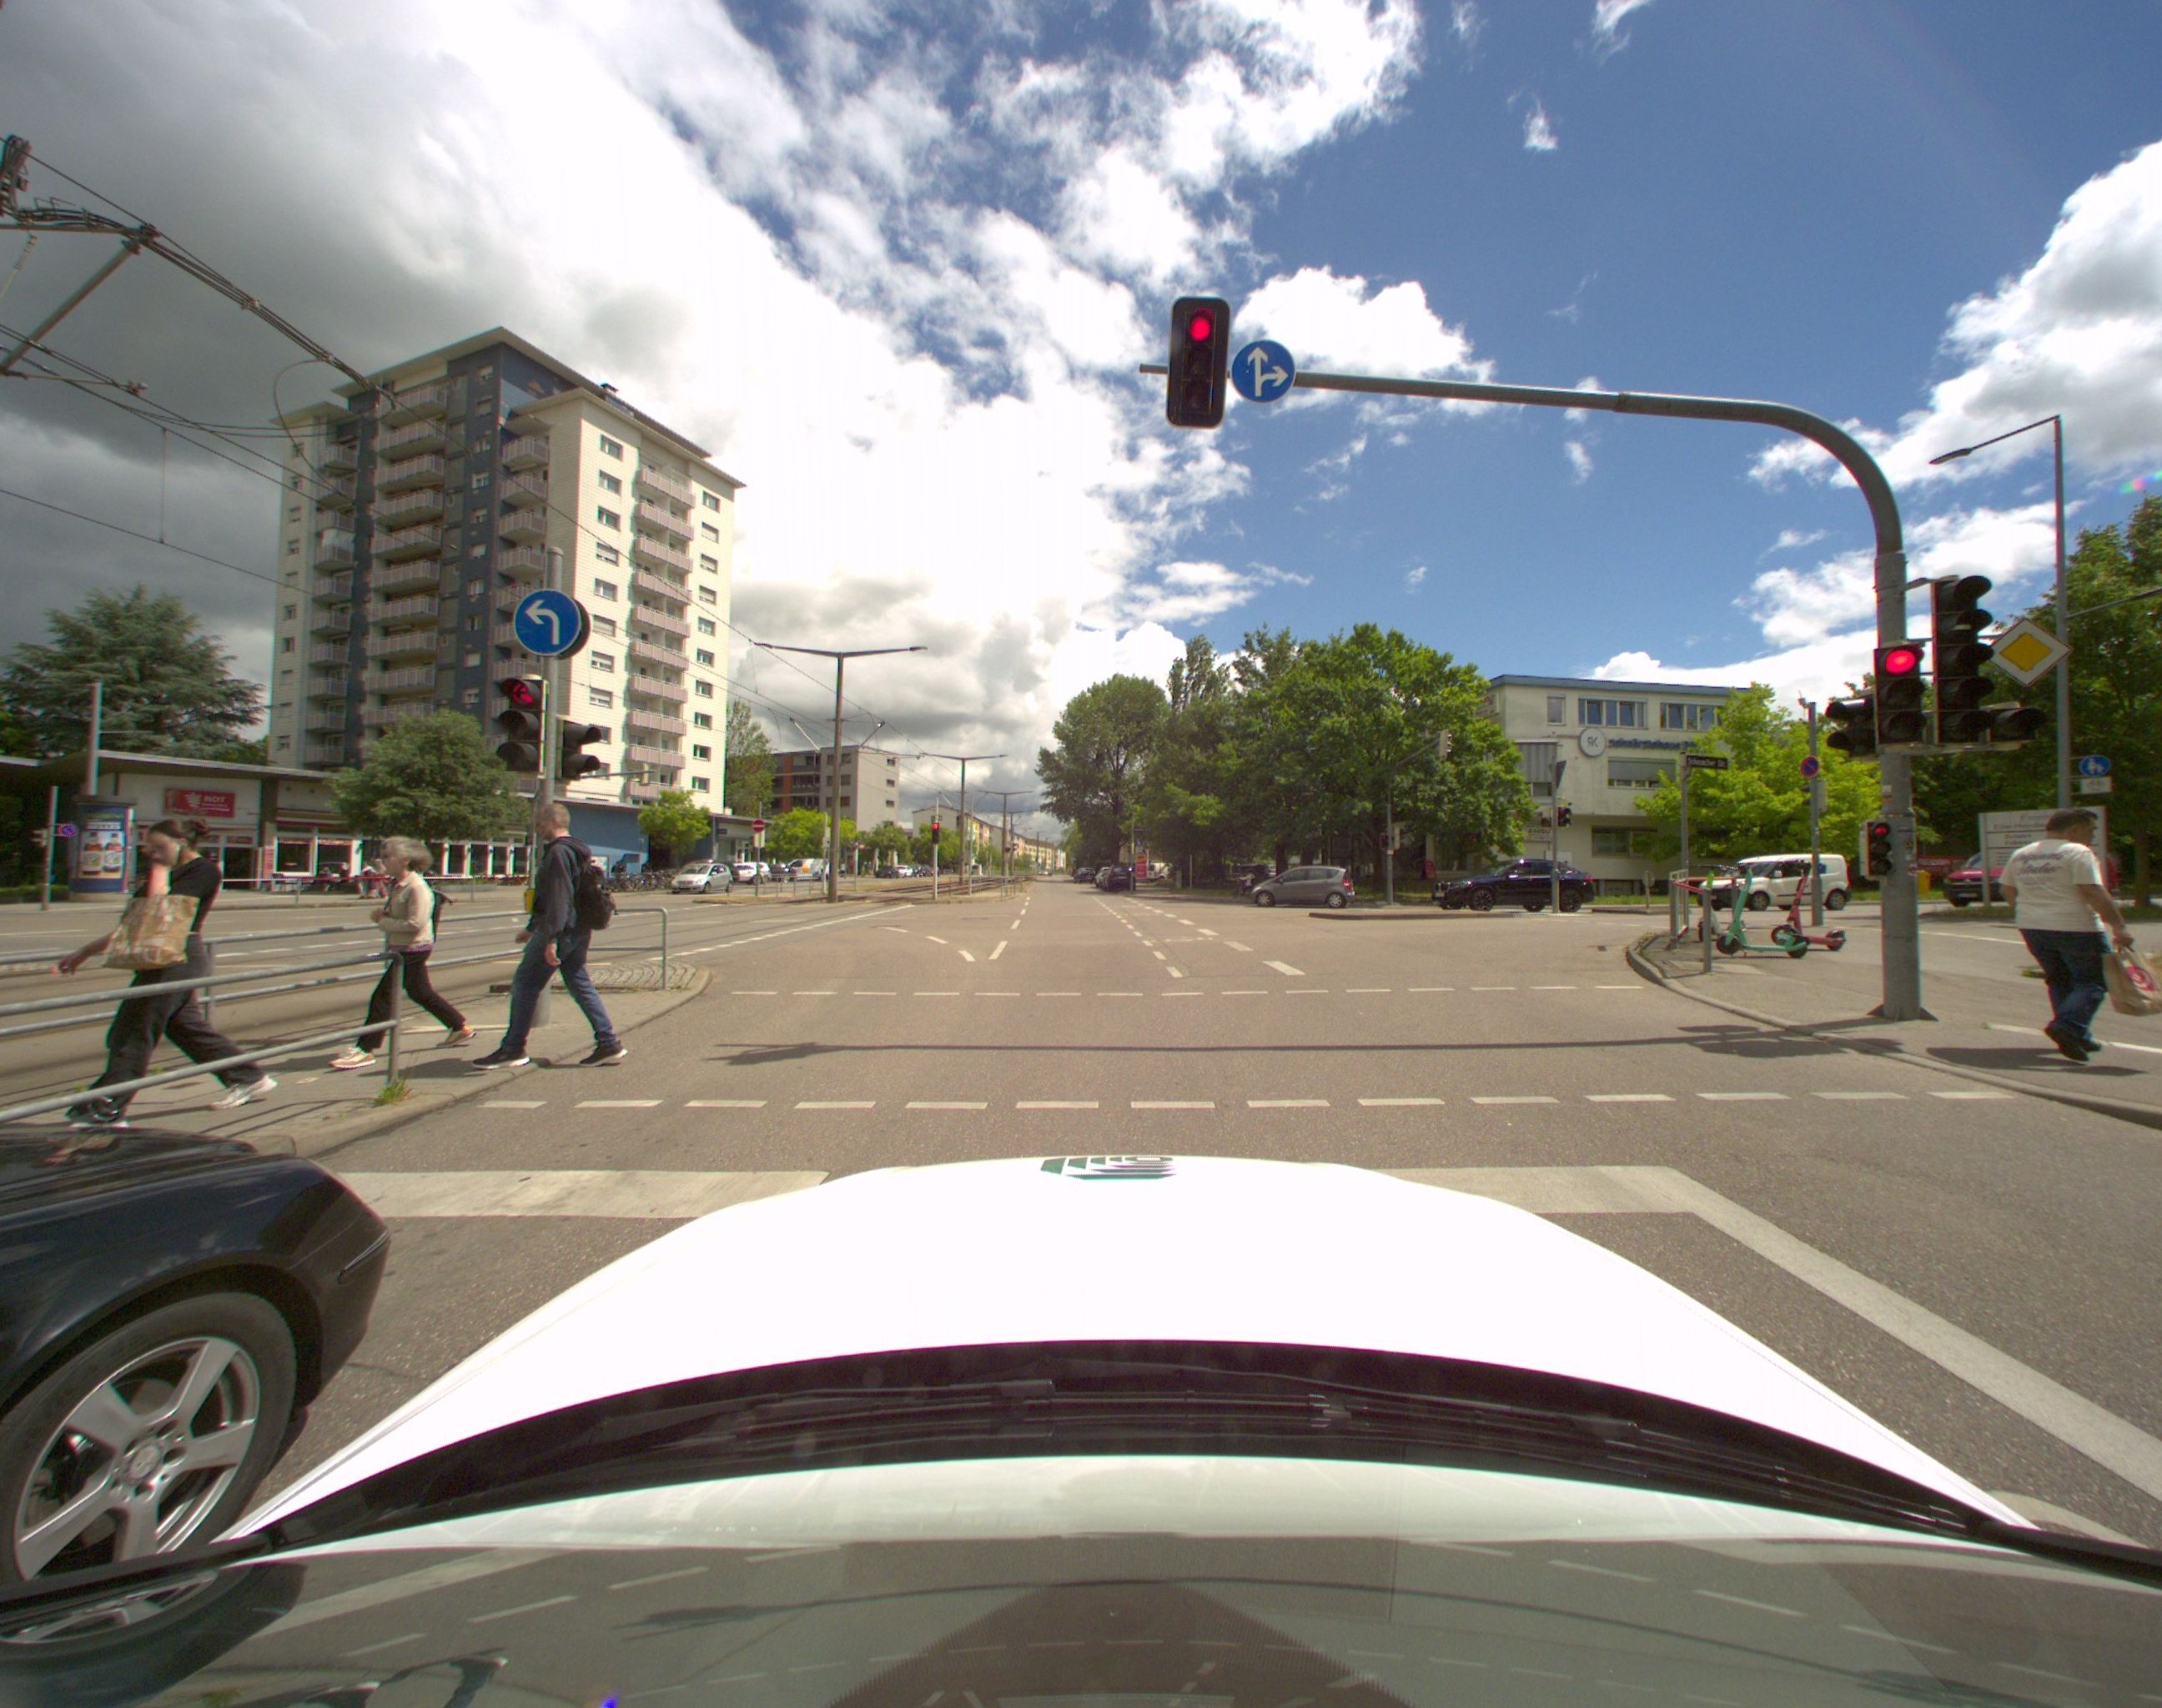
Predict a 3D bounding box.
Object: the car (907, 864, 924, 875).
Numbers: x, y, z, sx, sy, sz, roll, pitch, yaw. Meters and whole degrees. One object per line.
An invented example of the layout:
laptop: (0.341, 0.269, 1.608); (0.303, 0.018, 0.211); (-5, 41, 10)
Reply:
car: (-21.460, 2.022, 105.779); (1.758, 1.395, 3.993); (0, 0, -5)

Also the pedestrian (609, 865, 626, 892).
pedestrian: (-28.738, 1.525, 50.515); (0.767, 1.615, 0.695); (0, -1, -12)

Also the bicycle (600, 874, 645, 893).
bicycle: (-23.256, 1.490, 41.343); (1.943, 0.935, 0.494); (0, -1, -5)

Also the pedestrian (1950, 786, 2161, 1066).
pedestrian: (6.868, 0.462, 5.670); (0.867, 1.808, 0.740); (0, 0, -6)

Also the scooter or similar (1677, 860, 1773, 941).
scooter or similar: (9.755, 0.687, 12.327); (1.360, 1.156, 0.540); (1, 0, -23)

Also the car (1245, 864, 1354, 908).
car: (8.319, 1.174, 30.914); (3.875, 1.556, 2.010); (0, 0, 19)

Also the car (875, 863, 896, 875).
car: (-22.009, 1.677, 91.792); (1.758, 1.395, 3.993); (0, 0, -5)

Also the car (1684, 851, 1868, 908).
car: (22.295, 0.789, 26.224); (4.555, 1.717, 1.995); (0, 0, -8)

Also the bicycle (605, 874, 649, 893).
bicycle: (-23.285, 1.495, 41.810); (1.943, 0.935, 0.494); (0, -1, -5)

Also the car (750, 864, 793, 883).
car: (-24.874, 1.562, 65.292); (1.800, 1.420, 4.166); (0, -1, -43)

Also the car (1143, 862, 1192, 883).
car: (7.767, 1.623, 73.299); (4.001, 1.823, 1.766); (0, -1, -21)

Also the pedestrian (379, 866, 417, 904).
pedestrian: (-30.964, 1.392, 36.935); (0.957, 1.659, 1.002); (-1, -1, 27)

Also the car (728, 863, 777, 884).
car: (-24.949, 1.432, 61.851); (4.165, 1.538, 1.973); (-1, -1, 45)

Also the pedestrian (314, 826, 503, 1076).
pedestrian: (-5.043, 0.654, 6.113); (0.859, 1.674, 0.962); (-2, -1, 42)

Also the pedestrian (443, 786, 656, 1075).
pedestrian: (-3.819, 0.515, 5.945); (0.963, 1.942, 0.896); (0, 0, -3)

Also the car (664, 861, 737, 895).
car: (-19.809, 1.212, 42.579); (1.930, 1.693, 3.874); (0, 0, 2)

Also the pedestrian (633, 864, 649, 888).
pedestrian: (-29.672, 1.495, 54.964); (0.767, 1.615, 0.695); (0, -1, -12)

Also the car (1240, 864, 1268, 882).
car: (15.873, 1.709, 75.013); (1.626, 1.573, 4.030); (0, 0, -1)

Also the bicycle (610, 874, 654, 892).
bicycle: (-23.309, 1.501, 42.316); (1.943, 0.935, 0.494); (0, -1, -5)

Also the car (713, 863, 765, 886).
car: (-24.646, 1.432, 58.651); (4.165, 1.570, 1.973); (-1, -1, 45)

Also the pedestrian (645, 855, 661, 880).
pedestrian: (-32.880, 1.015, 62.560); (0.867, 1.917, 1.207); (0, 0, -20)

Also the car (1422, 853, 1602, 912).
car: (13.153, 0.843, 25.017); (4.551, 1.717, 1.996); (0, 0, -5)

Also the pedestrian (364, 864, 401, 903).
pedestrian: (-30.230, 1.257, 35.238); (0.936, 1.659, 1.106); (-2, -2, 43)

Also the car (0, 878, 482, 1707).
car: (-2.740, 0.794, 0.185); (1.721, 1.461, 4.546); (0, 0, 2)

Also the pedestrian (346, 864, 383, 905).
pedestrian: (-30.026, 1.261, 34.129); (0.936, 1.659, 1.106); (-2, -2, 43)

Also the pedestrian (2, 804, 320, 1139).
pedestrian: (-5.289, 0.618, 4.762); (0.933, 1.765, 0.769); (0, 0, -10)

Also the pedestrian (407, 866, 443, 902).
pedestrian: (-30.665, 1.401, 38.070); (0.957, 1.659, 1.002); (-1, -1, 27)

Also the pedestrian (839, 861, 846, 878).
pedestrian: (-24.003, 1.534, 82.025); (0.545, 1.716, 0.405); (0, -1, 1)

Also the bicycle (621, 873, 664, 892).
bicycle: (-23.321, 1.511, 43.339); (1.943, 0.935, 0.494); (0, -1, -5)

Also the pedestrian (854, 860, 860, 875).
pedestrian: (-25.075, 1.537, 91.259); (0.547, 1.716, 0.404); (0, -1, -8)

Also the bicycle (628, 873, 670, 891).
bicycle: (-23.290, 1.517, 43.941); (1.943, 0.935, 0.494); (0, -1, -5)

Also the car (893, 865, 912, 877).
car: (-21.671, 2.047, 99.187); (1.758, 1.395, 3.993); (0, 0, -5)

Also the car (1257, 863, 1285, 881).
car: (17.758, 1.643, 76.315); (1.626, 1.595, 3.998); (0, 0, -1)

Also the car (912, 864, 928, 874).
car: (-21.814, 2.022, 110.355); (1.758, 1.395, 3.993); (0, 0, -5)

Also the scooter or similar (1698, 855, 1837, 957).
scooter or similar: (8.853, 0.656, 10.538); (1.336, 1.277, 0.463); (0, 0, 8)

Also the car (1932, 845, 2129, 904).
car: (31.694, 0.689, 27.255); (4.800, 1.864, 1.994); (0, -2, -8)

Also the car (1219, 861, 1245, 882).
car: (13.720, 1.584, 74.191); (1.626, 1.811, 4.030); (0, 0, -1)

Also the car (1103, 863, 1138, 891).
car: (2.490, 1.447, 51.890); (2.144, 1.684, 4.001); (0, -1, 2)

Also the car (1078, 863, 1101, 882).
car: (0.807, 1.691, 74.581); (1.986, 1.684, 4.002); (0, 0, 2)

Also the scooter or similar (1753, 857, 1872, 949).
scooter or similar: (10.240, 0.676, 11.414); (1.225, 1.240, 0.555); (2, 0, -7)

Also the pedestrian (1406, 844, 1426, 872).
pedestrian: (20.110, 0.228, 48.922); (0.769, 1.643, 0.904); (0, -1, -11)

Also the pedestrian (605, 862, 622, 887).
pedestrian: (-29.965, 1.309, 52.217); (0.767, 1.615, 0.695); (0, -1, -11)

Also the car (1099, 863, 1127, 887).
car: (2.331, 1.551, 59.344); (1.986, 1.684, 4.001); (0, -1, 2)

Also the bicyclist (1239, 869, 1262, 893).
bicyclist: (7.549, 1.185, 36.191); (0.797, 1.022, 0.629); (1, -1, -34)

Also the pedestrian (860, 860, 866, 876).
pedestrian: (-24.823, 1.581, 92.584); (0.547, 1.716, 0.667); (0, -1, -8)

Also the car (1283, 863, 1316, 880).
car: (20.569, 1.624, 76.687); (1.728, 1.595, 3.992); (0, 0, -5)

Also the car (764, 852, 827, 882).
car: (-24.686, 1.077, 70.212); (2.848, 2.478, 6.641); (0, -1, -42)

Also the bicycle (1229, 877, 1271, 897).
bicycle: (7.501, 1.454, 36.205); (0.797, 0.819, 1.788); (1, -1, -35)
